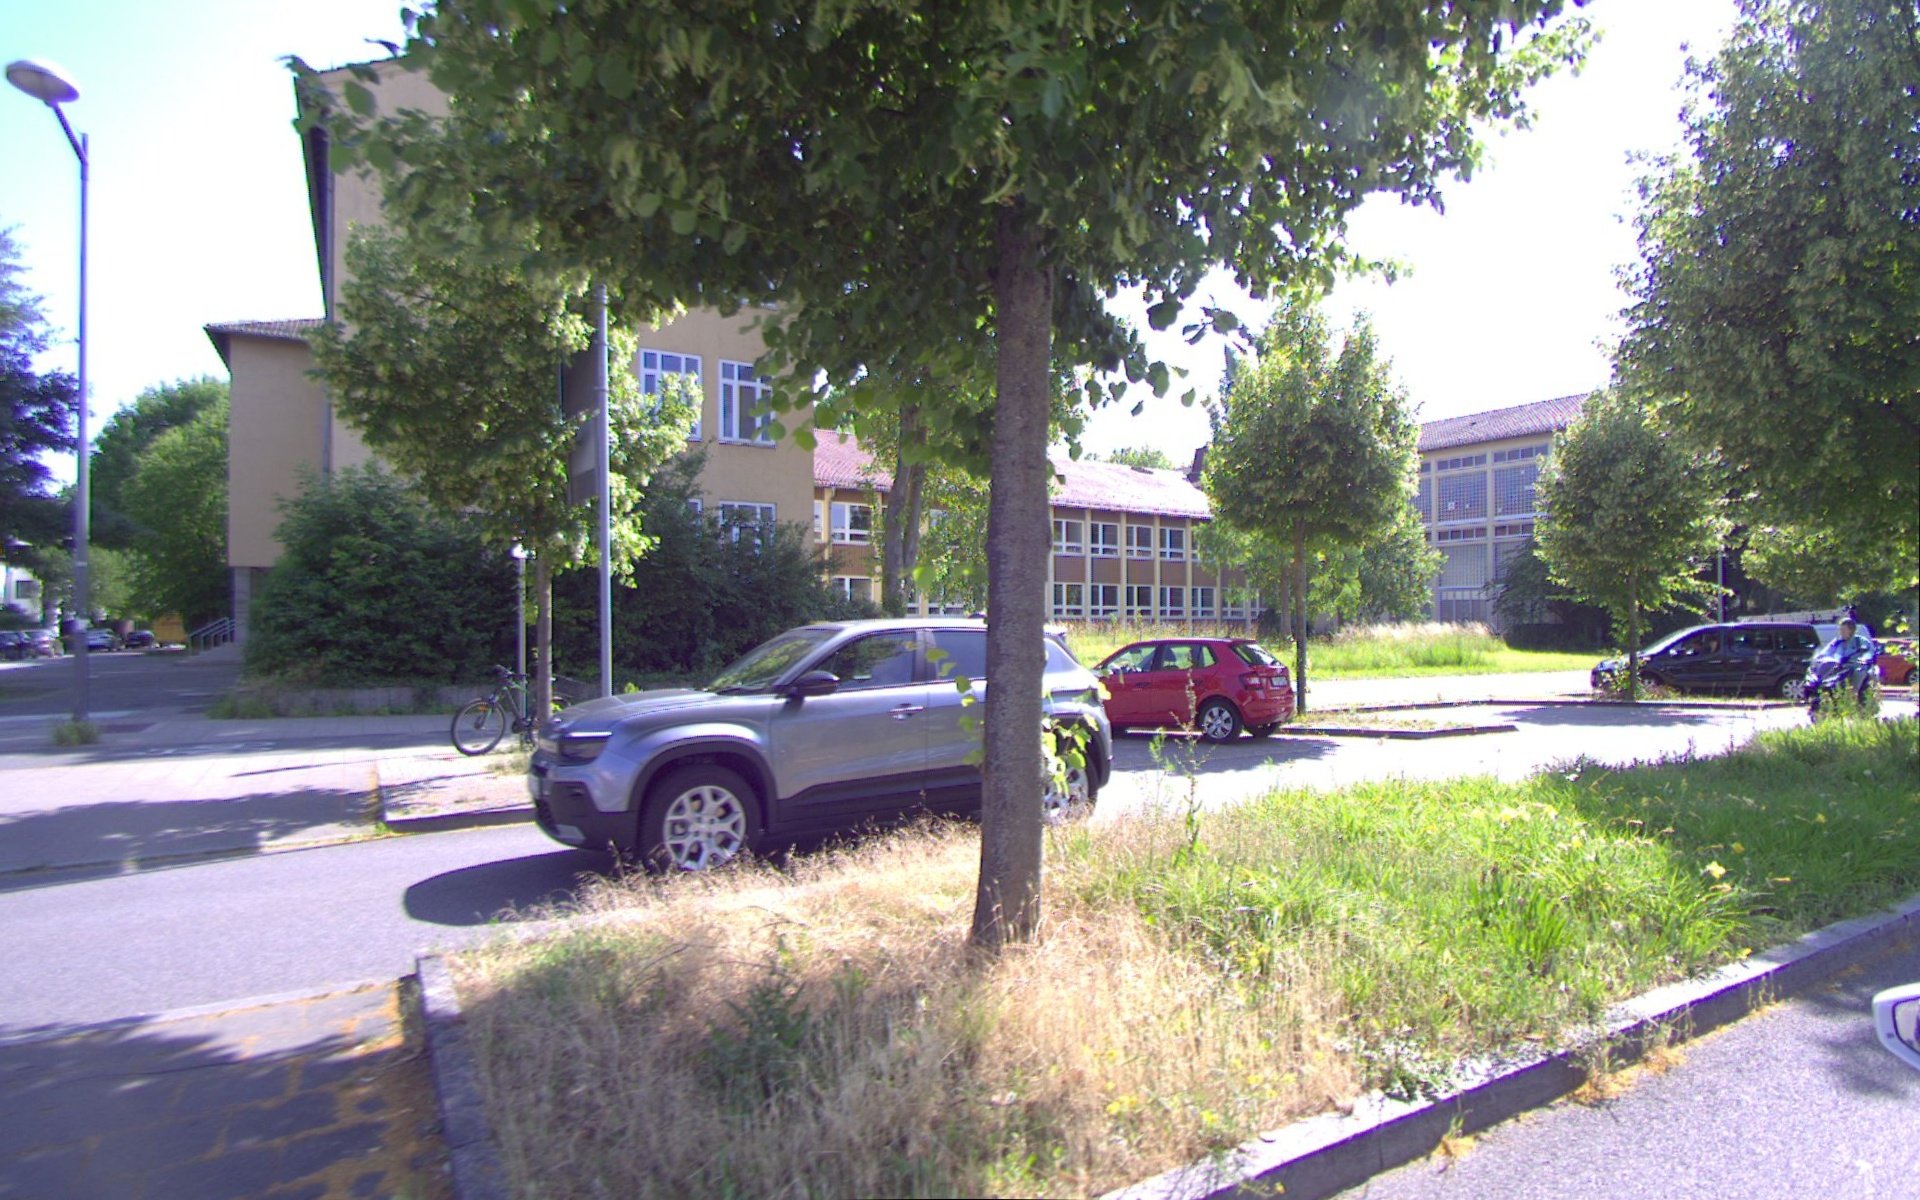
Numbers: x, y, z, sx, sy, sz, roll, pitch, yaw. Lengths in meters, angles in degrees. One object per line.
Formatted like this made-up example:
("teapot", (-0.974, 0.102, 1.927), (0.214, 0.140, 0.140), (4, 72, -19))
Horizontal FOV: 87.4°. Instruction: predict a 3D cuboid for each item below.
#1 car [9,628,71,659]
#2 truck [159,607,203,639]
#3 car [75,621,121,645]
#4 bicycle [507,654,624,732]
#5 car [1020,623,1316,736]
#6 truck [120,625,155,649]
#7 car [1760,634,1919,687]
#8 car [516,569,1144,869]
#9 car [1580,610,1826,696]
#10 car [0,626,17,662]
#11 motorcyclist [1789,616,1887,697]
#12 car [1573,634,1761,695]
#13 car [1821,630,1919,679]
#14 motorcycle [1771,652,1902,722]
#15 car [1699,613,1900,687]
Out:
("car", (-52.543, 2.449, 57.442), (1.843, 1.659, 3.967), (0, -1, -31))
("truck", (-66.085, 1.971, 85.321), (2.211, 2.630, 8.742), (0, -2, -33))
("car", (-60.305, 2.304, 70.329), (1.843, 1.659, 3.967), (0, -1, -31))
("bicycle", (-4.873, 1.126, 12.434), (1.258, 0.915, 0.517), (2, -3, -36))
("car", (3.104, 1.140, 15.299), (3.939, 1.486, 1.991), (-3, -3, 39))
("truck", (-66.730, 3.016, 81.540), (1.779, 1.849, 3.964), (0, -1, -33))
("car", (25.745, 1.720, 29.042), (3.769, 1.442, 1.715), (0, -2, 24))
("car", (-0.825, 0.699, 7.045), (4.025, 1.567, 1.733), (1, -3, -30))
("car", (16.849, 1.192, 23.048), (4.107, 1.840, 2.004), (-1, -1, 22))
("car", (-47.396, 2.160, 48.562), (1.843, 1.728, 3.967), (0, -1, -31))
("motorcyclist", (14.028, 0.884, 16.061), (1.049, 1.237, 0.896), (1, -1, -30))
("car", (17.938, 1.609, 25.721), (3.706, 1.446, 1.853), (-2, -2, 28))
("car", (28.721, 1.626, 30.336), (3.700, 1.442, 1.856), (0, -1, 19))
("motorcycle", (13.958, 1.350, 15.991), (2.208, 1.006, 0.919), (1, -1, -30))
("car", (21.786, 1.263, 26.276), (3.706, 1.795, 1.817), (0, -2, 28))
